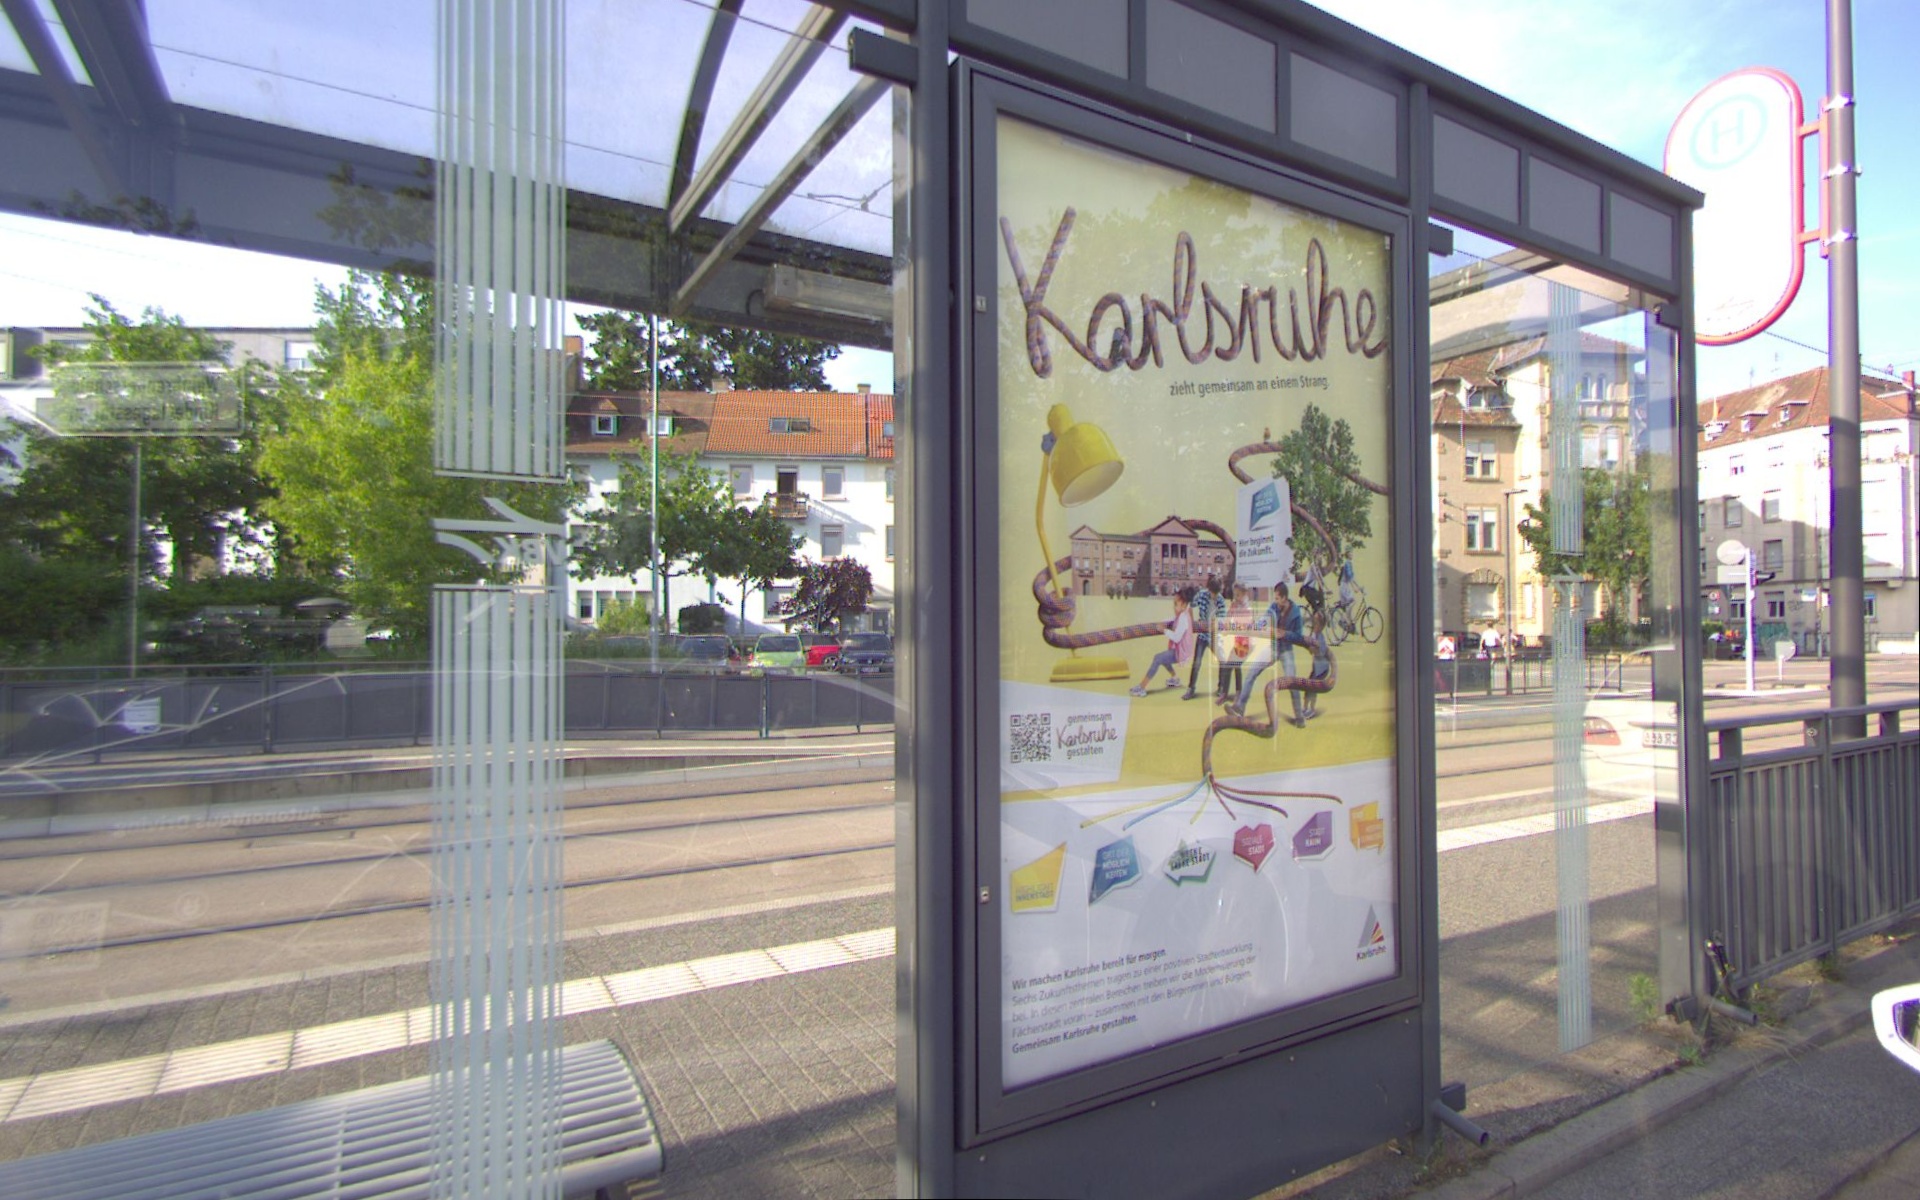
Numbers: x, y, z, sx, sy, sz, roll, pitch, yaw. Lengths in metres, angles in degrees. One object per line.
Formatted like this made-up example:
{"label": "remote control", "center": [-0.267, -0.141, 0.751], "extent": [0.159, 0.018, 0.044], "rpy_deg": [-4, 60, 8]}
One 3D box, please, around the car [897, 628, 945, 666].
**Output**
{"label": "car", "center": [-1.862, 2.162, 46.861], "extent": [1.963, 1.684, 3.996], "rpy_deg": [0, -2, -7]}

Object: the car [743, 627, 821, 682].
{"label": "car", "center": [-5.214, 1.584, 29.897], "extent": [1.813, 1.505, 3.999], "rpy_deg": [0, -2, -4]}

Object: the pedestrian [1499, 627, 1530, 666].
{"label": "pedestrian", "center": [22.483, 1.893, 40.738], "extent": [0.768, 1.572, 0.831], "rpy_deg": [0, -2, -9]}

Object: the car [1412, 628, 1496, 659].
{"label": "car", "center": [24.542, 2.131, 50.015], "extent": [1.732, 1.327, 4.111], "rpy_deg": [2, 0, -8]}

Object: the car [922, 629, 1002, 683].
{"label": "car", "center": [-0.013, 1.652, 30.498], "extent": [1.815, 1.505, 3.994], "rpy_deg": [0, -2, -9]}

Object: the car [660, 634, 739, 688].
{"label": "car", "center": [-7.534, 1.694, 28.857], "extent": [1.968, 1.416, 3.985], "rpy_deg": [0, -2, -18]}

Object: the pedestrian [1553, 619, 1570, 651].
{"label": "pedestrian", "center": [28.180, 1.635, 47.071], "extent": [0.540, 1.520, 0.437], "rpy_deg": [0, -2, -16]}

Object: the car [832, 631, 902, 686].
{"label": "car", "center": [-2.825, 1.698, 29.931], "extent": [1.815, 1.505, 3.994], "rpy_deg": [0, -2, -9]}

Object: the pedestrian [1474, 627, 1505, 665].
{"label": "pedestrian", "center": [21.932, 1.893, 41.634], "extent": [0.768, 1.572, 0.831], "rpy_deg": [0, -2, -9]}
